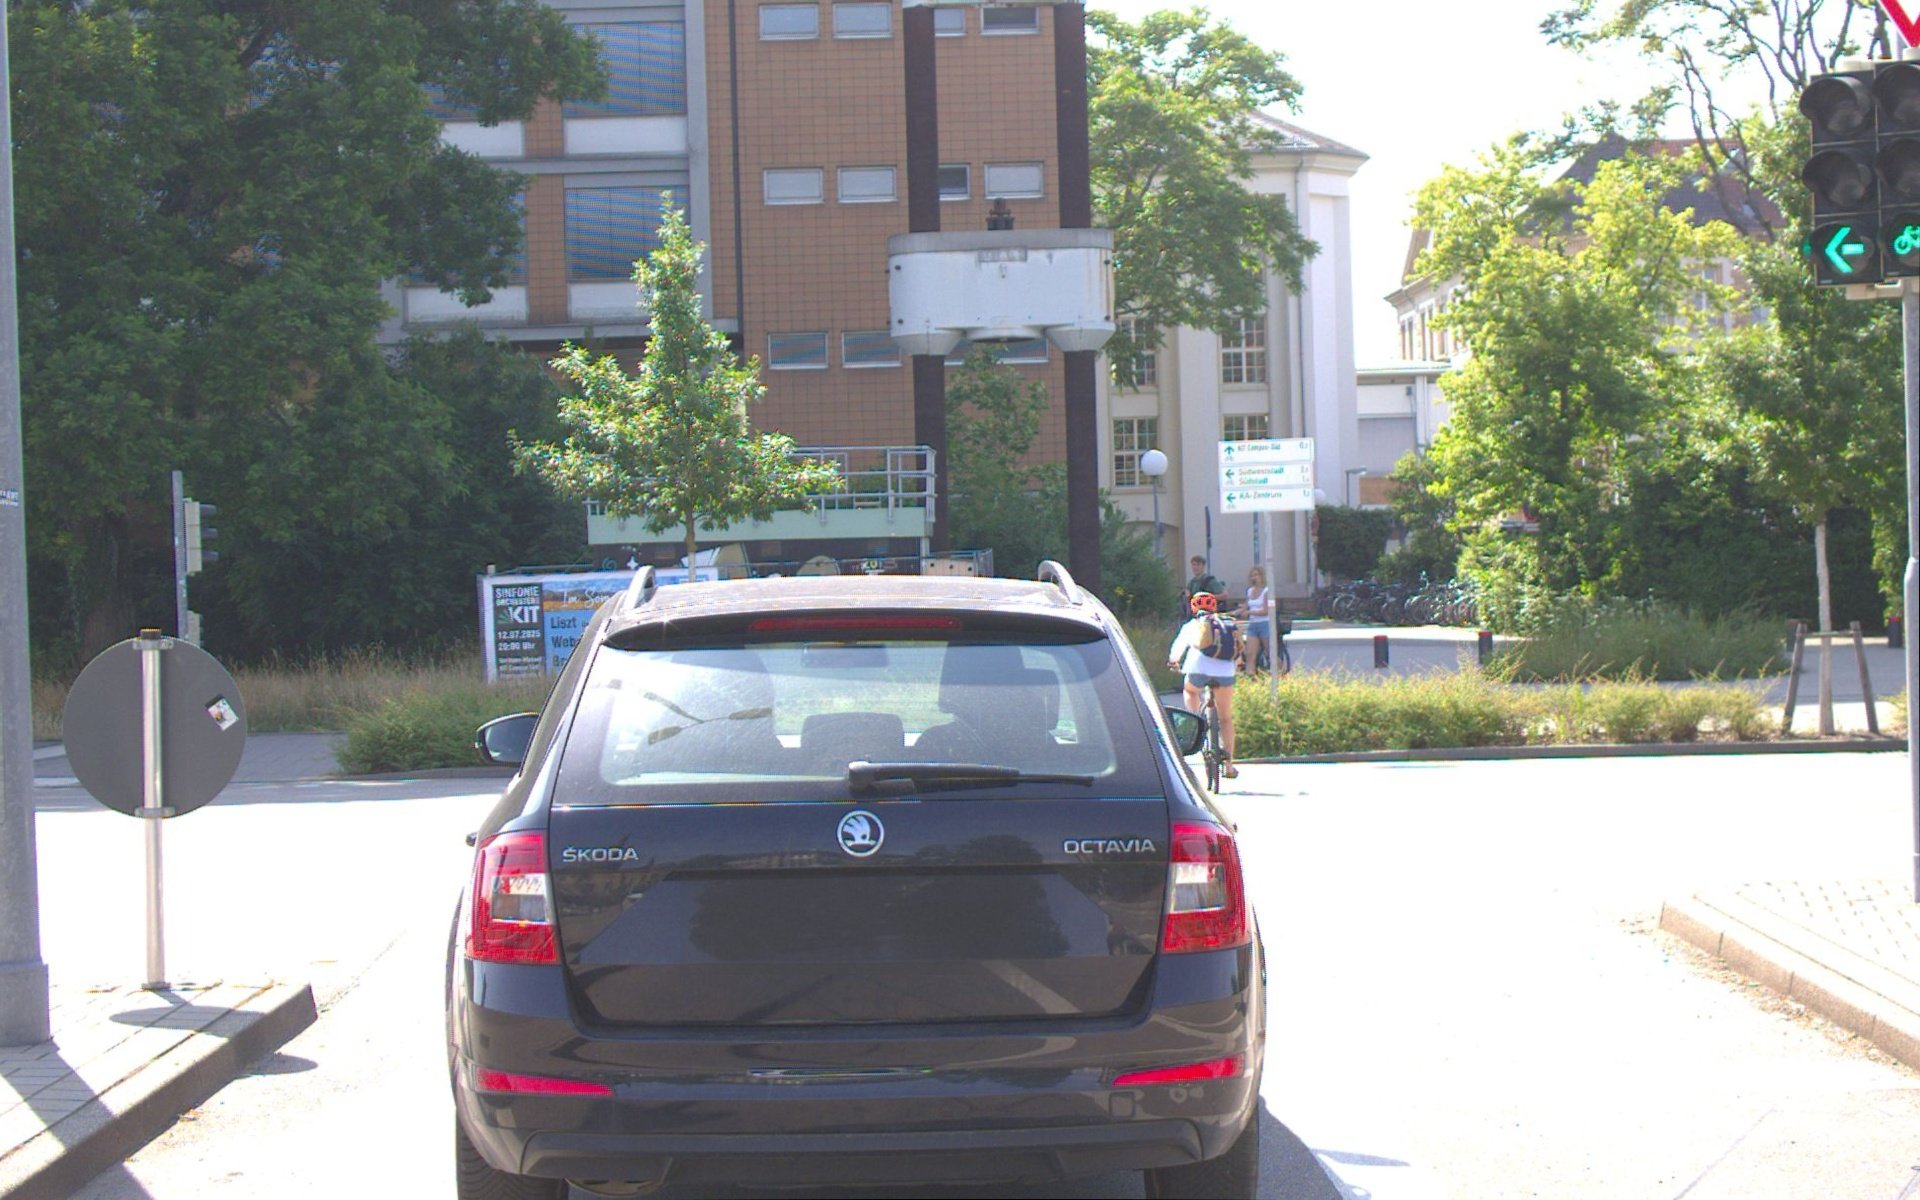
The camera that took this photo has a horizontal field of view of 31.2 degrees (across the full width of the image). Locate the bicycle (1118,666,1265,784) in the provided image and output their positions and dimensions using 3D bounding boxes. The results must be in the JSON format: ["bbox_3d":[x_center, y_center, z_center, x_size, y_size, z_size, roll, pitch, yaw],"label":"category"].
[{"bbox_3d":[1.884,1.019,28.286,0.596,0.928,2.028,0,-1,-14],"label":"bicycle"}]

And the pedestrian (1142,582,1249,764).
[{"bbox_3d":[1.922,0.586,28.169,0.583,1.461,1.014,0,0,-14],"label":"pedestrian"}]

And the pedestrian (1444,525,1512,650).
[{"bbox_3d":[7.952,-0.190,52.765,0.795,1.868,0.638,-3,1,23],"label":"pedestrian"}]

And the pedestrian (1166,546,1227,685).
[{"bbox_3d":[3.235,0.206,46.996,0.597,1.868,0.638,-2,0,23],"label":"pedestrian"}]

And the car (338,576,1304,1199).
[{"bbox_3d":[-0.260,0.669,8.247,1.780,1.438,3.818,0,1,0],"label":"car"}]

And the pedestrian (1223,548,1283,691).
[{"bbox_3d":[3.924,0.250,46.093,0.637,1.868,0.796,-3,1,-1],"label":"pedestrian"}]
